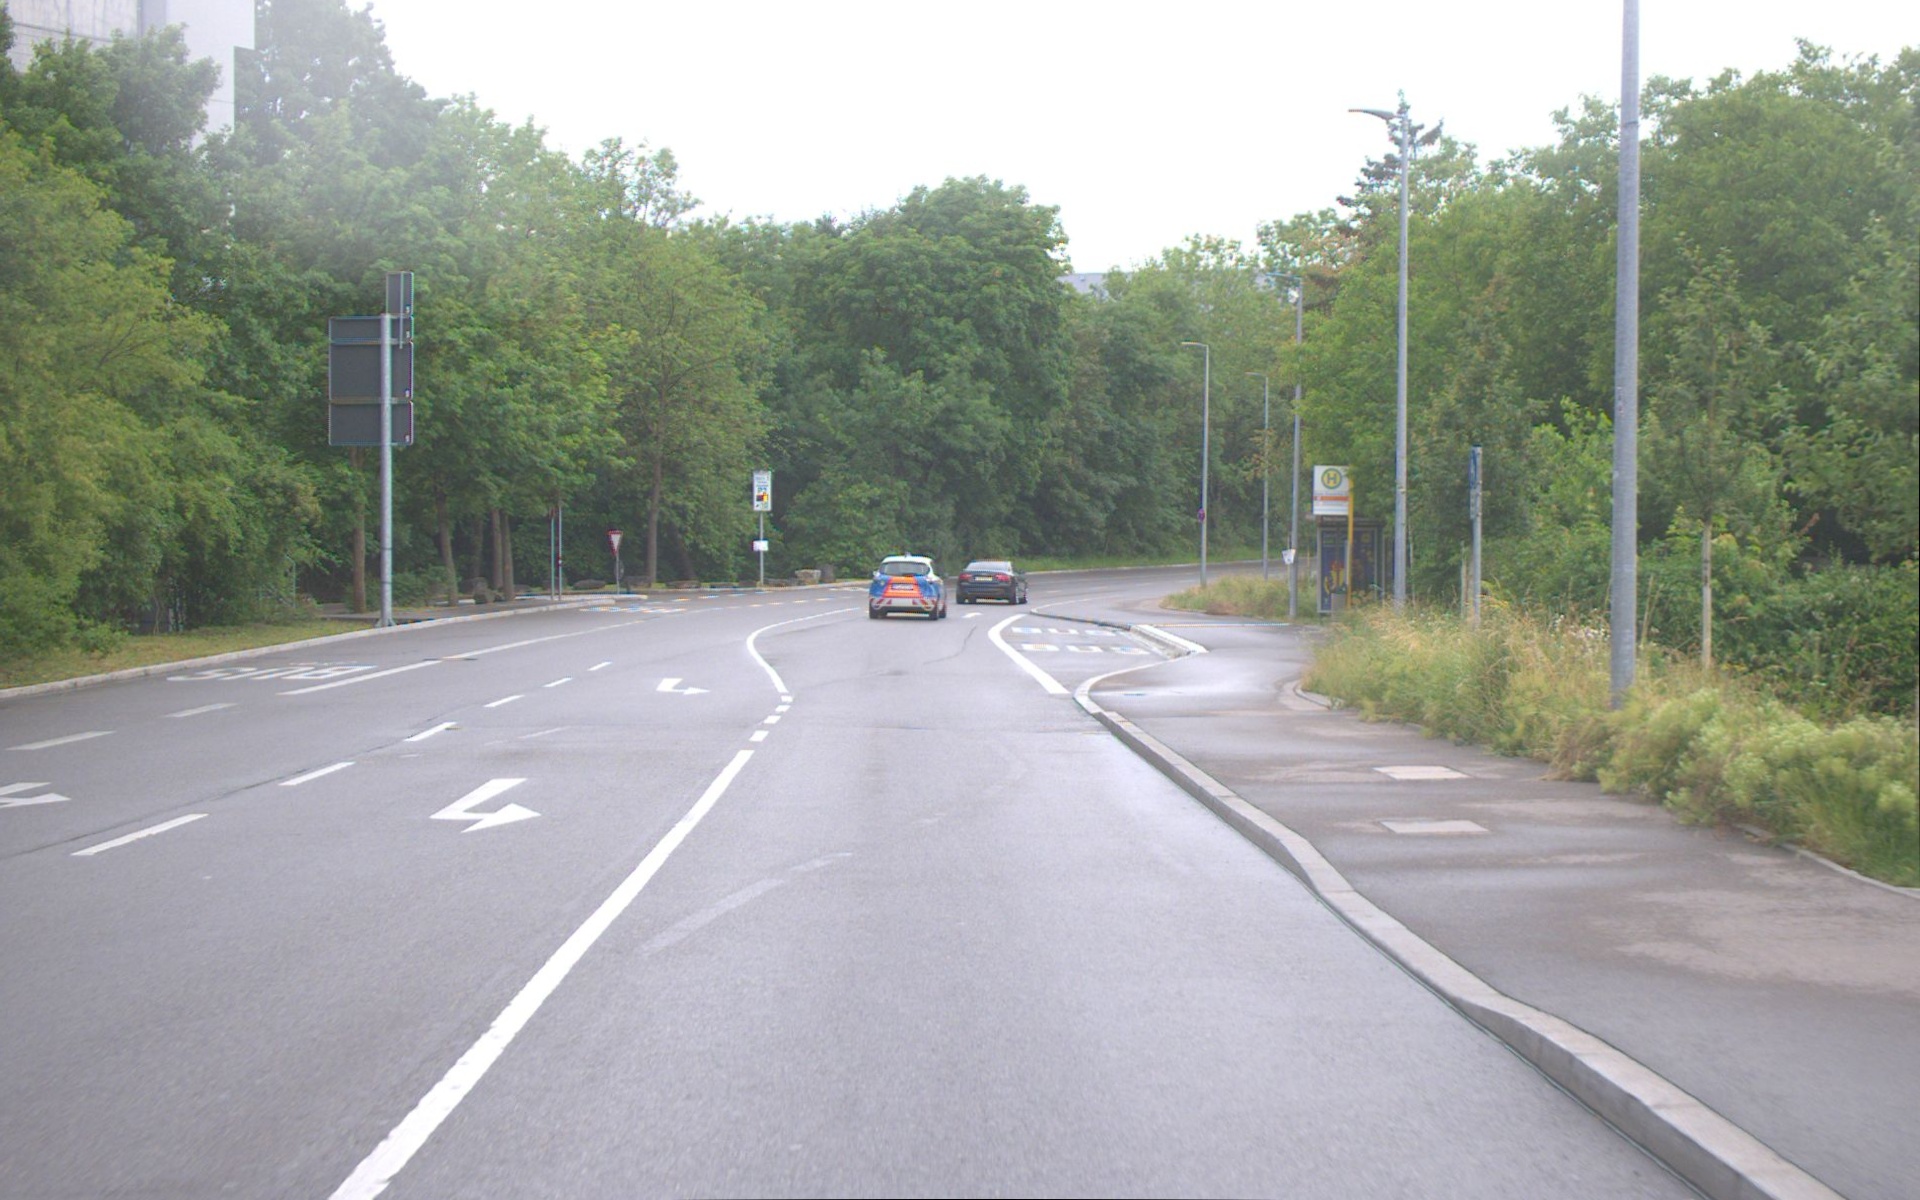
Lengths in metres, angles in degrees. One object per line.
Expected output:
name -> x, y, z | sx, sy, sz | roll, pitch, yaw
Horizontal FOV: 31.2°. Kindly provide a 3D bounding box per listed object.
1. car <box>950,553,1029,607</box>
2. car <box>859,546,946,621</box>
car -> 0.933, -0.636, 106.017 | 1.928, 1.481, 3.799 | 0, 3, 8
car -> -1.415, -0.435, 85.921 | 1.993, 1.683, 4.001 | -1, 3, 2
